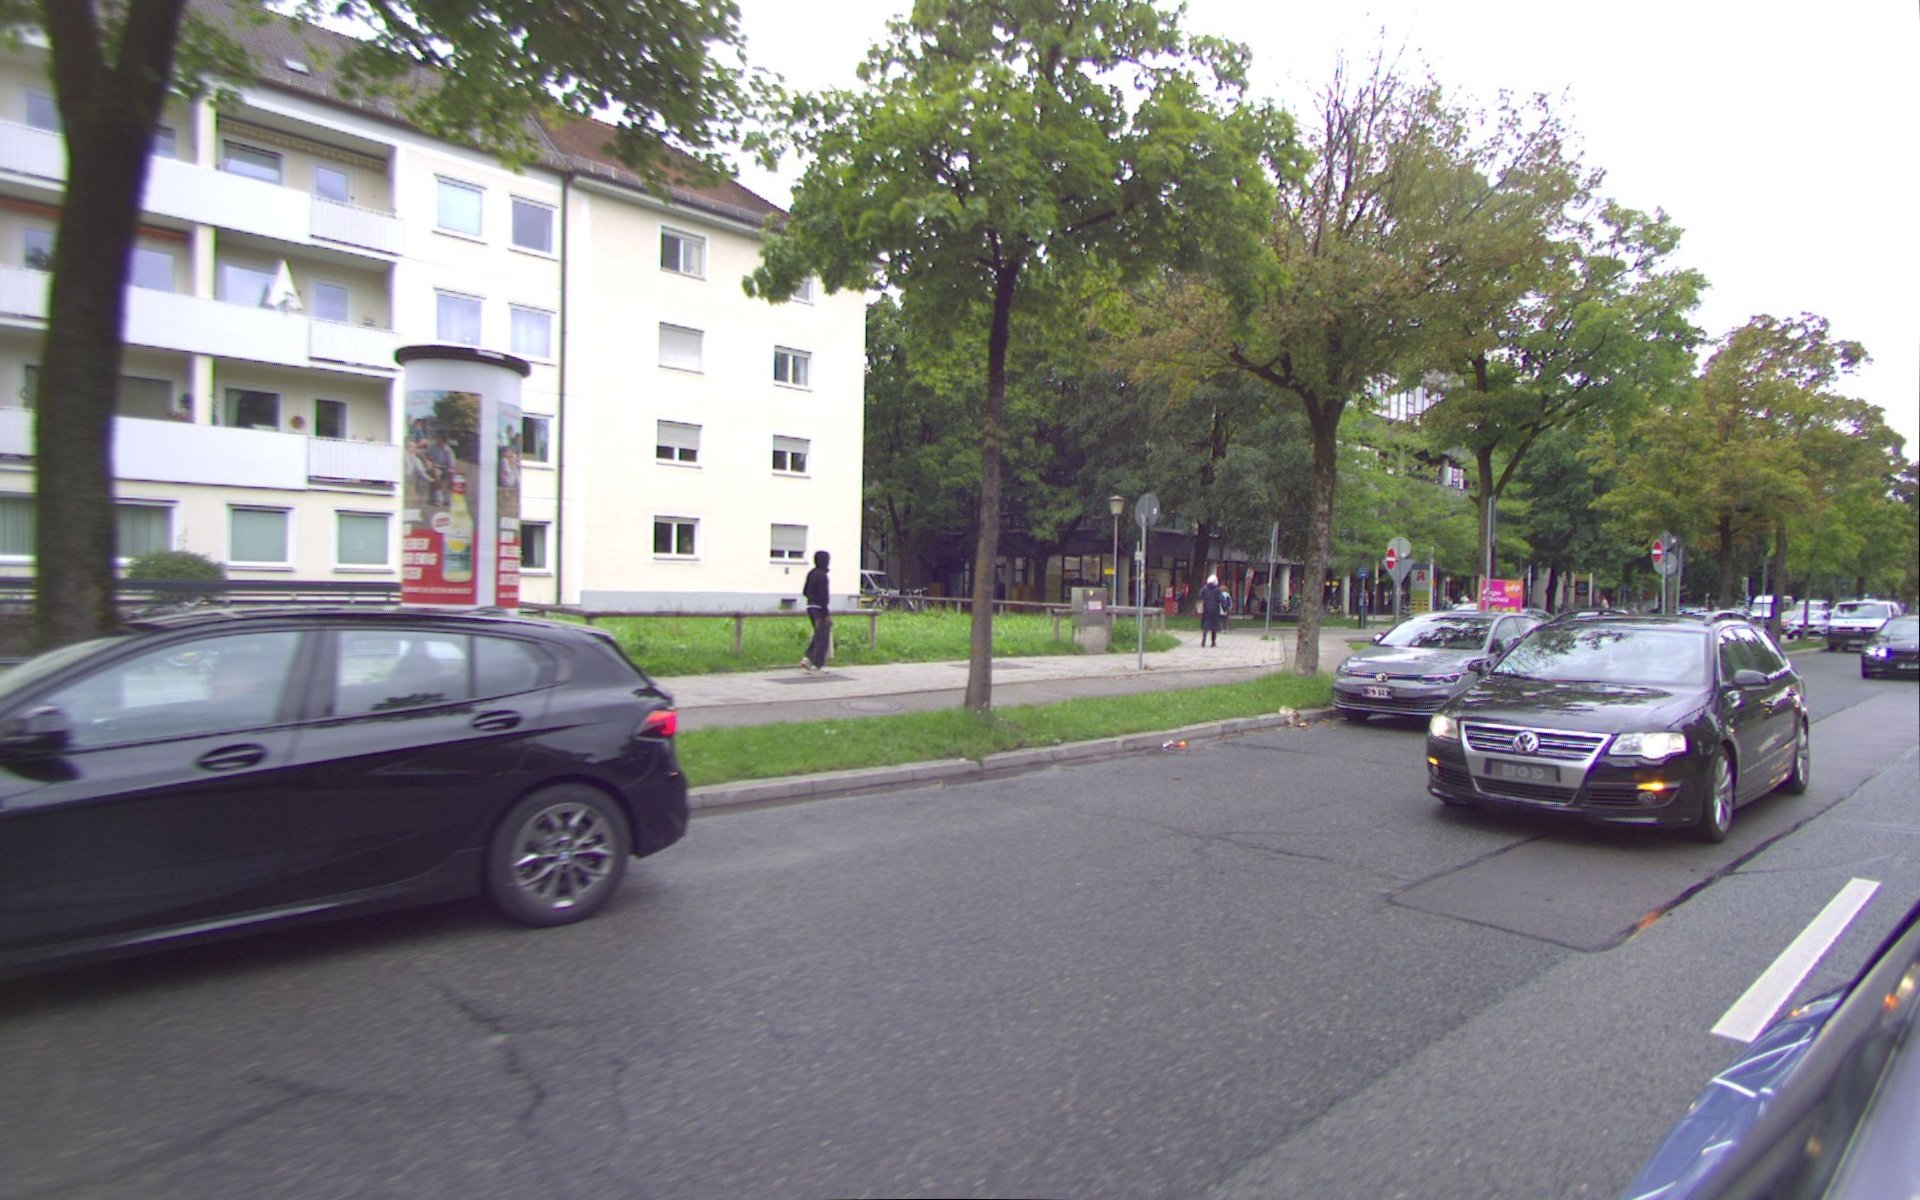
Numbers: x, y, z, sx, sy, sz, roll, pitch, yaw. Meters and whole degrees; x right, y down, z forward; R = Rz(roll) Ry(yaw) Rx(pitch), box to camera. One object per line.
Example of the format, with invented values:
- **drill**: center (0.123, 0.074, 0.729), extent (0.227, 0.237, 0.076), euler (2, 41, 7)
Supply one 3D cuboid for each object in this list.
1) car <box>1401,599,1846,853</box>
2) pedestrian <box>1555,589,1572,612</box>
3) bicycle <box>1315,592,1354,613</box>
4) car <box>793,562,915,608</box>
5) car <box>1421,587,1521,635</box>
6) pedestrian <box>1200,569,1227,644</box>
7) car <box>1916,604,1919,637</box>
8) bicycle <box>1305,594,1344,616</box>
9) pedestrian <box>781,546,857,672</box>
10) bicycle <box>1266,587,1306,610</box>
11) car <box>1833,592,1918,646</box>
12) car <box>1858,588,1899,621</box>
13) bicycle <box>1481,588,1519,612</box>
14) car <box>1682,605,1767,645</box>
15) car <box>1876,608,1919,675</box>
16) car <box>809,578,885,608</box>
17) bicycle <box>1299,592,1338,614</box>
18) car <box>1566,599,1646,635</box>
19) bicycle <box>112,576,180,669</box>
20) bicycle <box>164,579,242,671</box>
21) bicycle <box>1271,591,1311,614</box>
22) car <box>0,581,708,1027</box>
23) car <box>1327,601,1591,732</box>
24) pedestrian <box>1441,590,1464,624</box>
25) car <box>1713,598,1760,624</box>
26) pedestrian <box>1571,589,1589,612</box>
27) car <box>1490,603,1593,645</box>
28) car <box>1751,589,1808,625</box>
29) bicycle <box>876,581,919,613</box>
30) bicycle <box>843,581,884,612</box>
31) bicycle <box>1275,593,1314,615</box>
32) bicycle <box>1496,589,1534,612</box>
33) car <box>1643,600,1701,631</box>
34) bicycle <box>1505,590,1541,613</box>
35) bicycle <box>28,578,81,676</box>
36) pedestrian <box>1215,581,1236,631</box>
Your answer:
- **car**: center (5.317, 0.733, 7.863), extent (4.363, 1.451, 1.734), euler (1, -1, -40)
- **pedestrian**: center (46.519, 0.060, 78.040), extent (0.856, 1.719, 0.772), euler (0, 2, -26)
- **bicycle**: center (21.045, 0.117, 56.915), extent (0.447, 1.134, 2.079), euler (1, 1, -40)
- **car**: center (-5.360, -0.795, 50.837), extent (6.073, 2.078, 2.316), euler (3, 1, 35)
- **car**: center (19.276, 0.406, 38.110), extent (4.122, 1.654, 1.826), euler (1, 2, -39)
- **pedestrian**: center (6.017, 0.154, 24.025), extent (0.632, 1.752, 0.598), euler (0, 0, 15)
- **car**: center (51.460, 1.048, 52.953), extent (4.387, 1.663, 1.684), euler (1, -2, -41)
- **bicycle**: center (20.192, 0.282, 56.087), extent (0.447, 1.134, 2.079), euler (1, 1, -40)
- **pedestrian**: center (-2.067, 0.120, 14.830), extent (0.639, 1.771, 0.835), euler (4, 2, 44)
- **bicycle**: center (17.258, -0.089, 53.542), extent (0.447, 1.134, 2.079), euler (1, 1, -40)
- **car**: center (34.948, 0.704, 38.590), extent (4.847, 1.952, 1.884), euler (1, -1, -41)
- **car**: center (79.609, 0.399, 87.710), extent (5.901, 2.691, 1.976), euler (1, -1, -41)
- **bicycle**: center (38.411, -0.017, 72.032), extent (0.638, 1.643, 2.312), euler (1, 1, -40)
- **car**: center (29.674, 0.936, 39.226), extent (4.610, 1.450, 1.730), euler (0, 0, -41)
- **car**: center (22.306, 0.916, 23.028), extent (4.386, 1.431, 1.761), euler (1, -1, -42)
- **car**: center (-5.304, -0.342, 47.162), extent (1.559, 1.216, 3.742), euler (2, 1, -43)
- **bicycle**: center (19.543, 0.176, 55.210), extent (0.447, 1.134, 2.079), euler (1, 1, -40)
- **car**: center (30.426, 0.760, 47.596), extent (4.519, 1.550, 1.826), euler (1, 2, -39)
- **bicycle**: center (-10.153, 0.249, 12.608), extent (1.878, 1.041, 0.426), euler (3, 2, 44)
- **bicycle**: center (-9.592, 0.286, 12.795), extent (1.876, 1.041, 0.426), euler (3, 2, 42)
- **bicycle**: center (17.716, 0.126, 54.146), extent (0.447, 1.134, 2.079), euler (1, 1, -40)
- **car**: center (-3.375, 0.681, 4.371), extent (4.102, 1.484, 1.754), euler (1, -1, -40)
- **car**: center (6.731, 0.770, 13.477), extent (4.041, 1.484, 1.685), euler (1, -1, -40)
- **pedestrian**: center (23.688, 0.330, 48.700), extent (0.619, 1.561, 0.662), euler (1, 2, -25)
- **car**: center (51.681, 0.706, 67.320), extent (4.270, 1.654, 1.861), euler (0, 2, -45)
- **pedestrian**: center (48.577, 0.051, 79.261), extent (0.755, 1.719, 0.875), euler (0, 2, -26)
- **car**: center (20.391, 0.798, 35.431), extent (4.273, 1.397, 1.725), euler (0, 0, -39)
- **car**: center (60.656, 0.515, 74.850), extent (5.755, 2.560, 2.267), euler (1, 1, -41)
- **bicycle**: center (-2.090, -0.106, 33.644), extent (0.448, 0.983, 1.693), euler (1, 1, -44)
- **bicycle**: center (-3.344, -0.127, 34.914), extent (0.448, 0.983, 1.693), euler (1, 1, -44)
- **bicycle**: center (18.133, 0.188, 54.922), extent (0.447, 1.134, 2.079), euler (1, 1, -40)
- **bicycle**: center (40.171, 0.021, 73.231), extent (0.638, 1.643, 2.312), euler (1, 1, -40)
- **car**: center (39.410, 0.862, 55.991), extent (1.823, 1.550, 4.527), euler (3, 1, 45)
- **bicycle**: center (41.917, 0.079, 75.354), extent (2.298, 1.643, 0.642), euler (2, 0, 33)
- **bicycle**: center (-10.736, 0.281, 11.982), extent (0.425, 1.041, 1.880), euler (0, 2, -43)
- **pedestrian**: center (8.570, 0.180, 32.742), extent (0.571, 1.594, 0.779), euler (0, 0, 9)
